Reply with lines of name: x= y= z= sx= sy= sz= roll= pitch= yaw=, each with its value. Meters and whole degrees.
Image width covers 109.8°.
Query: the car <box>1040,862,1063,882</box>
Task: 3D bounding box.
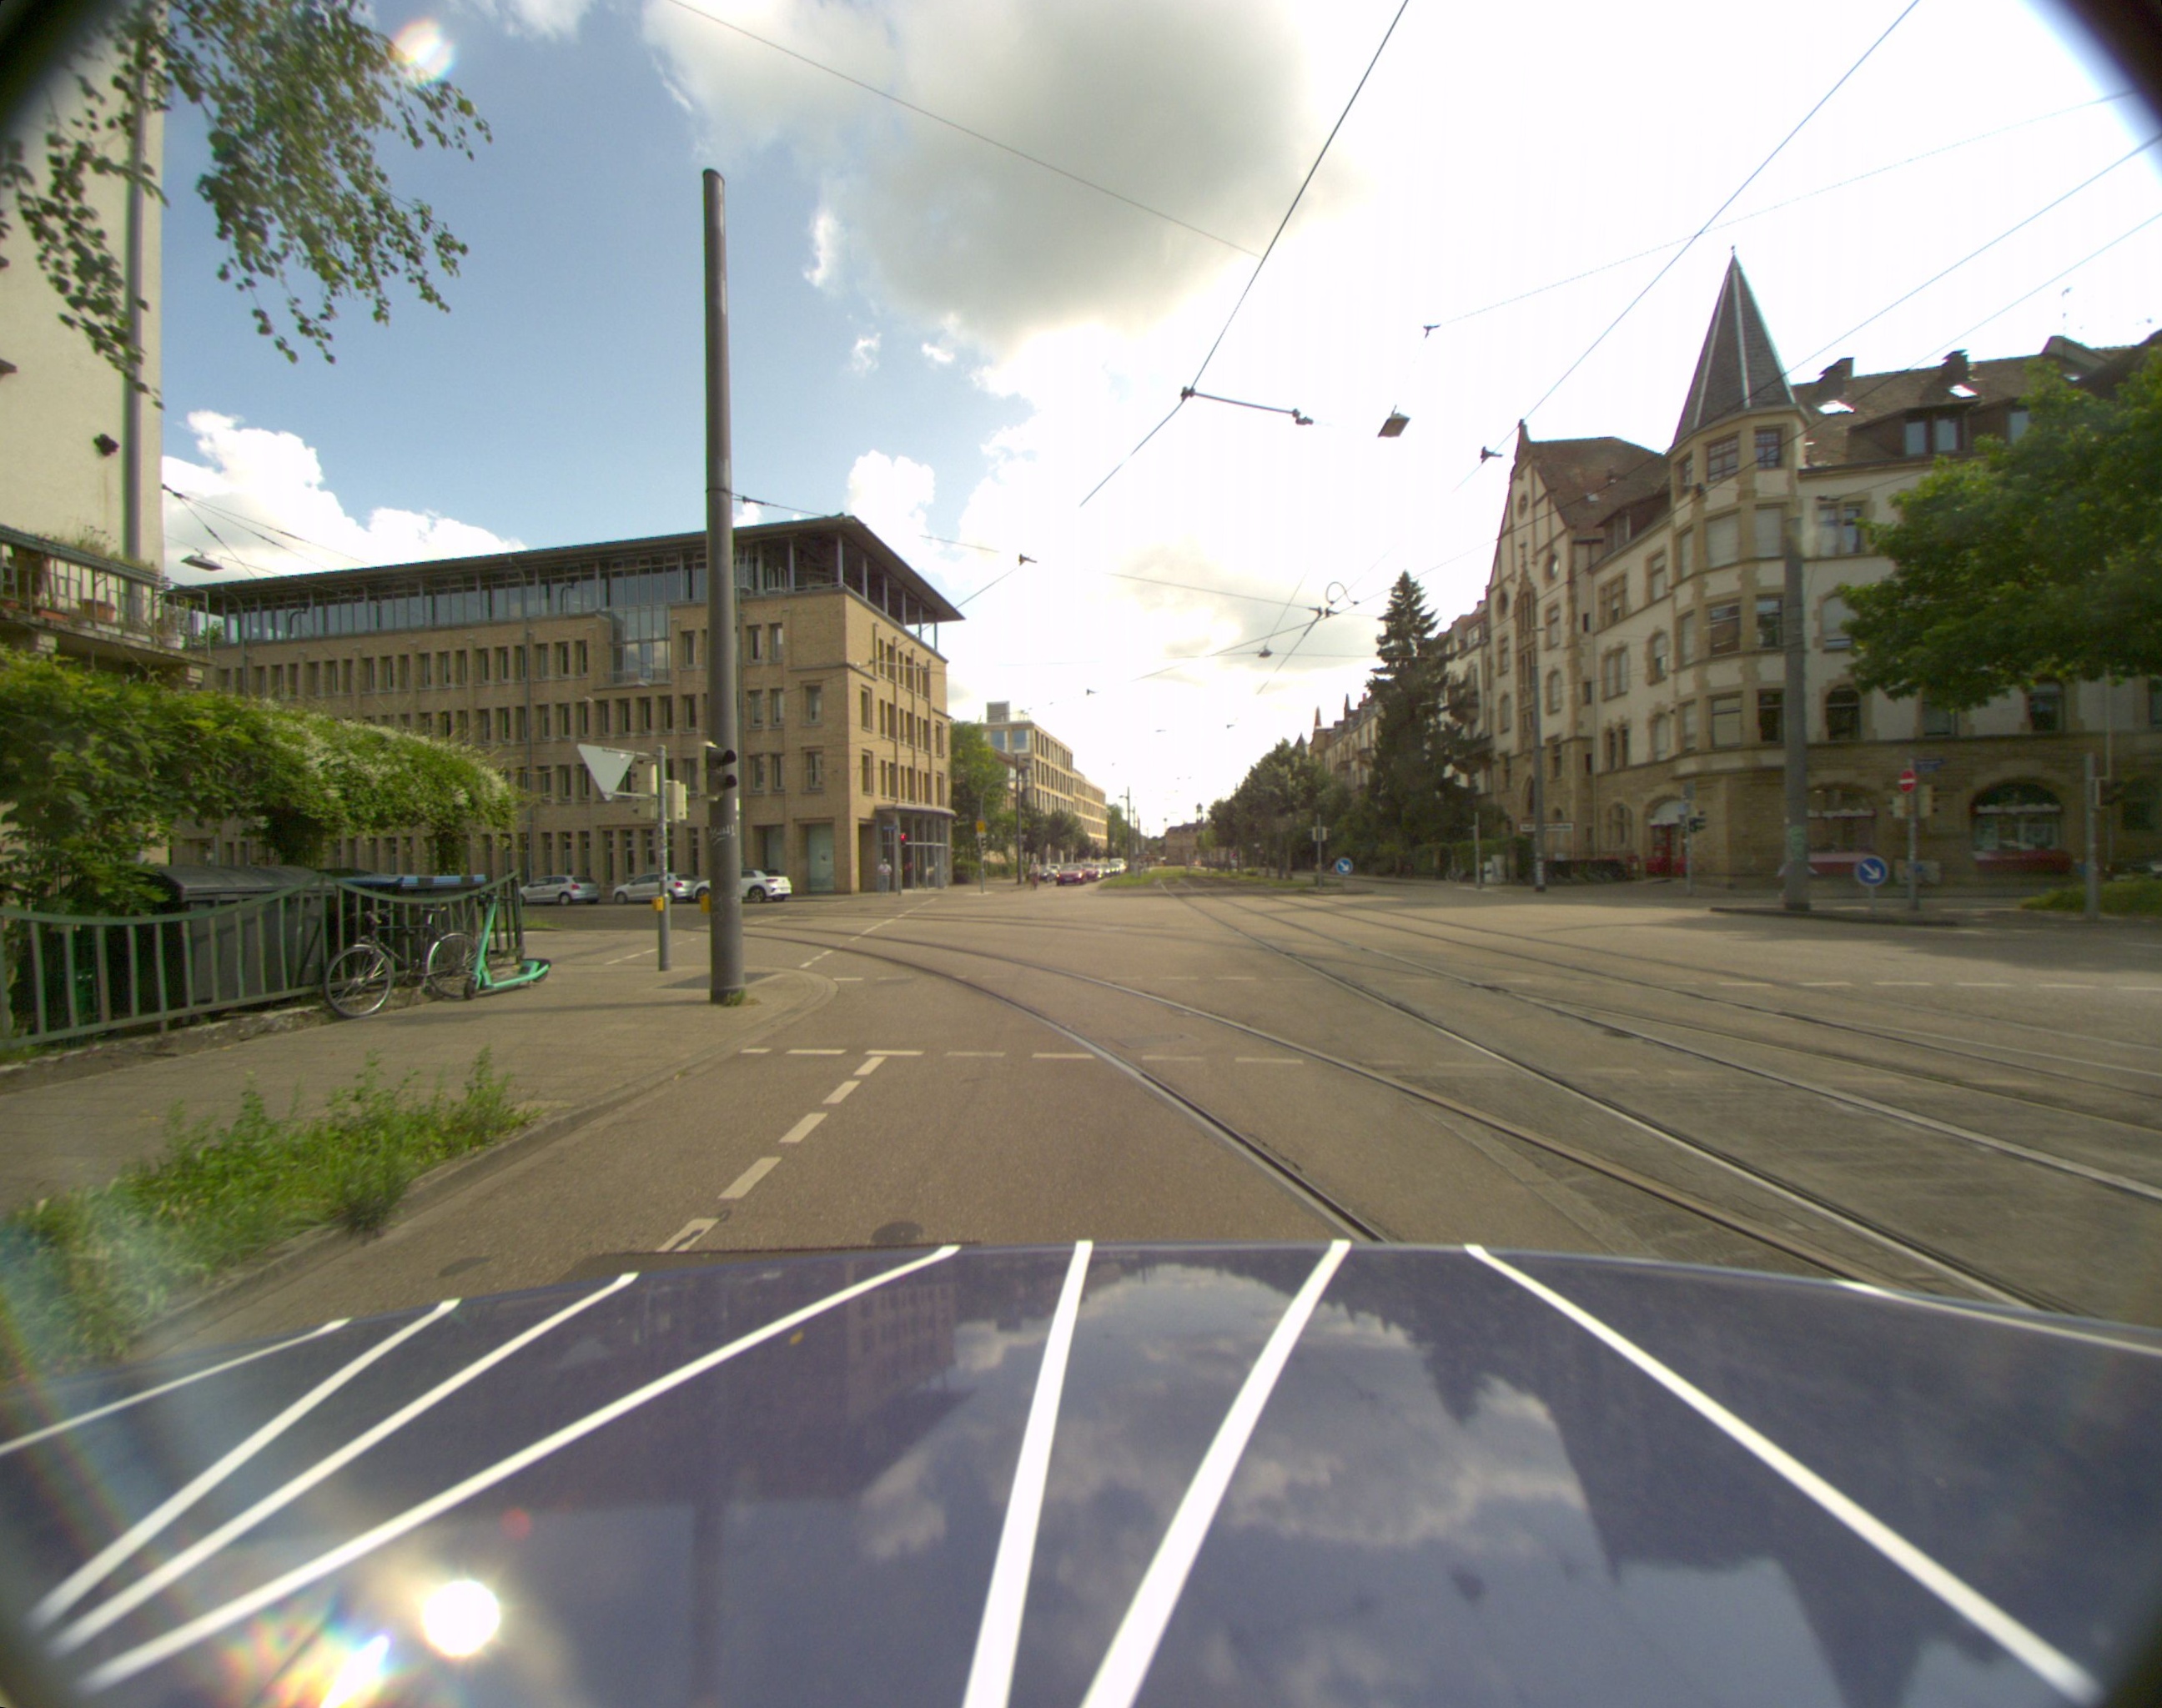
car: x=-2.599 y=1.604 z=68.418 sx=1.835 sy=1.674 sz=4.000 roll=-1 pitch=0 yaw=1

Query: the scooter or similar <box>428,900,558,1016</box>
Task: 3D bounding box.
scooter or similar: x=-6.694 y=1.147 z=8.719 sx=0.521 sy=1.172 sz=1.188 roll=1 pitch=0 yaw=2

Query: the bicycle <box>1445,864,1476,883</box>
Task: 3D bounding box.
bicycle: x=20.442 y=1.038 z=40.944 sx=0.625 sy=0.966 sz=2.337 roll=-1 pitch=0 yaw=4

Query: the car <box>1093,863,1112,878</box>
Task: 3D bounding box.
car: x=2.110 y=1.572 z=72.883 sx=1.619 sy=1.265 sz=4.001 roll=-2 pitch=0 yaw=5

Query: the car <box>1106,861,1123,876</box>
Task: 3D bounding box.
car: x=3.765 y=1.602 z=85.619 sx=1.738 sy=1.570 sz=4.002 roll=0 pitch=0 yaw=5

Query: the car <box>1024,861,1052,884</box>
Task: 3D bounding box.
car: x=-3.393 y=1.445 z=60.107 sx=1.999 sy=1.730 sz=4.000 roll=-1 pitch=0 yaw=-1

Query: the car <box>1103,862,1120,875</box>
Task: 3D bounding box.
car: x=3.213 y=1.495 z=79.783 sx=1.619 sy=1.265 sz=4.001 roll=-2 pitch=0 yaw=5

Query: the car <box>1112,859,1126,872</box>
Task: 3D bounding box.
car: x=4.629 y=1.364 z=92.614 sx=1.579 sy=1.549 sz=4.002 roll=-1 pitch=0 yaw=5

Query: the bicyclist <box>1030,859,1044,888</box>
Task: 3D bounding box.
bicyclist: x=-2.535 y=1.101 z=43.704 sx=0.665 sy=1.679 sz=0.857 roll=0 pitch=0 yaw=6

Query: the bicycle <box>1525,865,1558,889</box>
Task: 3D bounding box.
bicycle: x=20.764 y=1.030 z=34.288 sx=0.591 sy=0.967 sz=1.629 roll=-1 pitch=2 yaw=4

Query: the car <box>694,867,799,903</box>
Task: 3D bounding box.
car: x=-14.850 y=1.365 z=33.774 sx=3.993 sy=1.538 sz=1.678 roll=-1 pitch=-1 yaw=11

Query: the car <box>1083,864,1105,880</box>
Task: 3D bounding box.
car: x=1.186 y=1.536 z=65.806 sx=1.619 sy=1.265 sz=4.001 roll=-2 pitch=0 yaw=5

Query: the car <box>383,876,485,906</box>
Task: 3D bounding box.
car: x=-31.470 y=1.798 z=37.001 sx=3.993 sy=1.413 sz=1.678 roll=-1 pitch=-1 yaw=11

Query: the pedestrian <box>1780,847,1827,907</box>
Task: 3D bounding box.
pedestrian: x=21.366 y=0.679 z=22.493 sx=0.932 sy=1.730 sz=0.771 roll=-1 pitch=0 yaw=39

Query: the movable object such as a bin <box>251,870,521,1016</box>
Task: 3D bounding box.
movable object such as a bin: x=-8.035 y=0.959 z=8.976 sx=1.305 sy=1.483 sz=2.000 roll=-1 pitch=0 yaw=2

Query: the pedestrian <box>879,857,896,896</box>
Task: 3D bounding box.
pedestrian: x=-9.167 y=1.051 z=35.993 sx=0.737 sy=1.832 sz=0.806 roll=-2 pitch=0 yaw=-14

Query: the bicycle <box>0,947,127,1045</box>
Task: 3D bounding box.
bicycle: x=-10.484 y=1.414 z=7.648 sx=1.170 sy=0.895 sz=0.453 roll=-1 pitch=0 yaw=0

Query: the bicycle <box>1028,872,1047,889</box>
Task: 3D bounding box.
bicycle: x=-2.508 y=1.526 z=43.761 sx=0.771 sy=0.885 sz=1.893 roll=-1 pitch=0 yaw=7

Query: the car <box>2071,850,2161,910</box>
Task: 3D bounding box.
car: x=32.232 y=0.725 z=21.964 sx=4.261 sy=1.675 sz=2.001 roll=0 pitch=0 yaw=7

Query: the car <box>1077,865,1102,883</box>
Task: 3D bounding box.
car: x=0.691 y=1.504 z=57.859 sx=1.619 sy=1.265 sz=4.001 roll=-2 pitch=0 yaw=5

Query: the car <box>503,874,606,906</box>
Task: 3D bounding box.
car: x=-24.630 y=1.664 z=35.588 sx=3.993 sy=1.413 sz=1.678 roll=-1 pitch=-1 yaw=11

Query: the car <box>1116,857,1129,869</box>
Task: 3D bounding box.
car: x=5.532 y=1.193 z=100.669 sx=1.645 sy=1.610 sz=3.714 roll=-1 pitch=0 yaw=5

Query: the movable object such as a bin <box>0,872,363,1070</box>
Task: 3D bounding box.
movable object such as a bin: x=-8.073 y=0.924 z=6.829 sx=1.305 sy=1.483 sz=2.000 roll=-1 pitch=0 yaw=2

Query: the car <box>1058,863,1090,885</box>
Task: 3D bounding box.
car: x=-0.416 y=1.283 z=50.023 sx=1.740 sy=1.313 sz=4.001 roll=-3 pitch=0 yaw=5

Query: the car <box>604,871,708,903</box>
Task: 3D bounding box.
car: x=-19.342 y=1.506 z=34.667 sx=3.993 sy=1.413 sz=1.678 roll=-1 pitch=-1 yaw=11

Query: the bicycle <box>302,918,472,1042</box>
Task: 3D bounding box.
bicycle: x=-6.972 y=1.217 z=7.725 sx=0.350 sy=1.016 sz=1.481 roll=2 pitch=0 yaw=0
